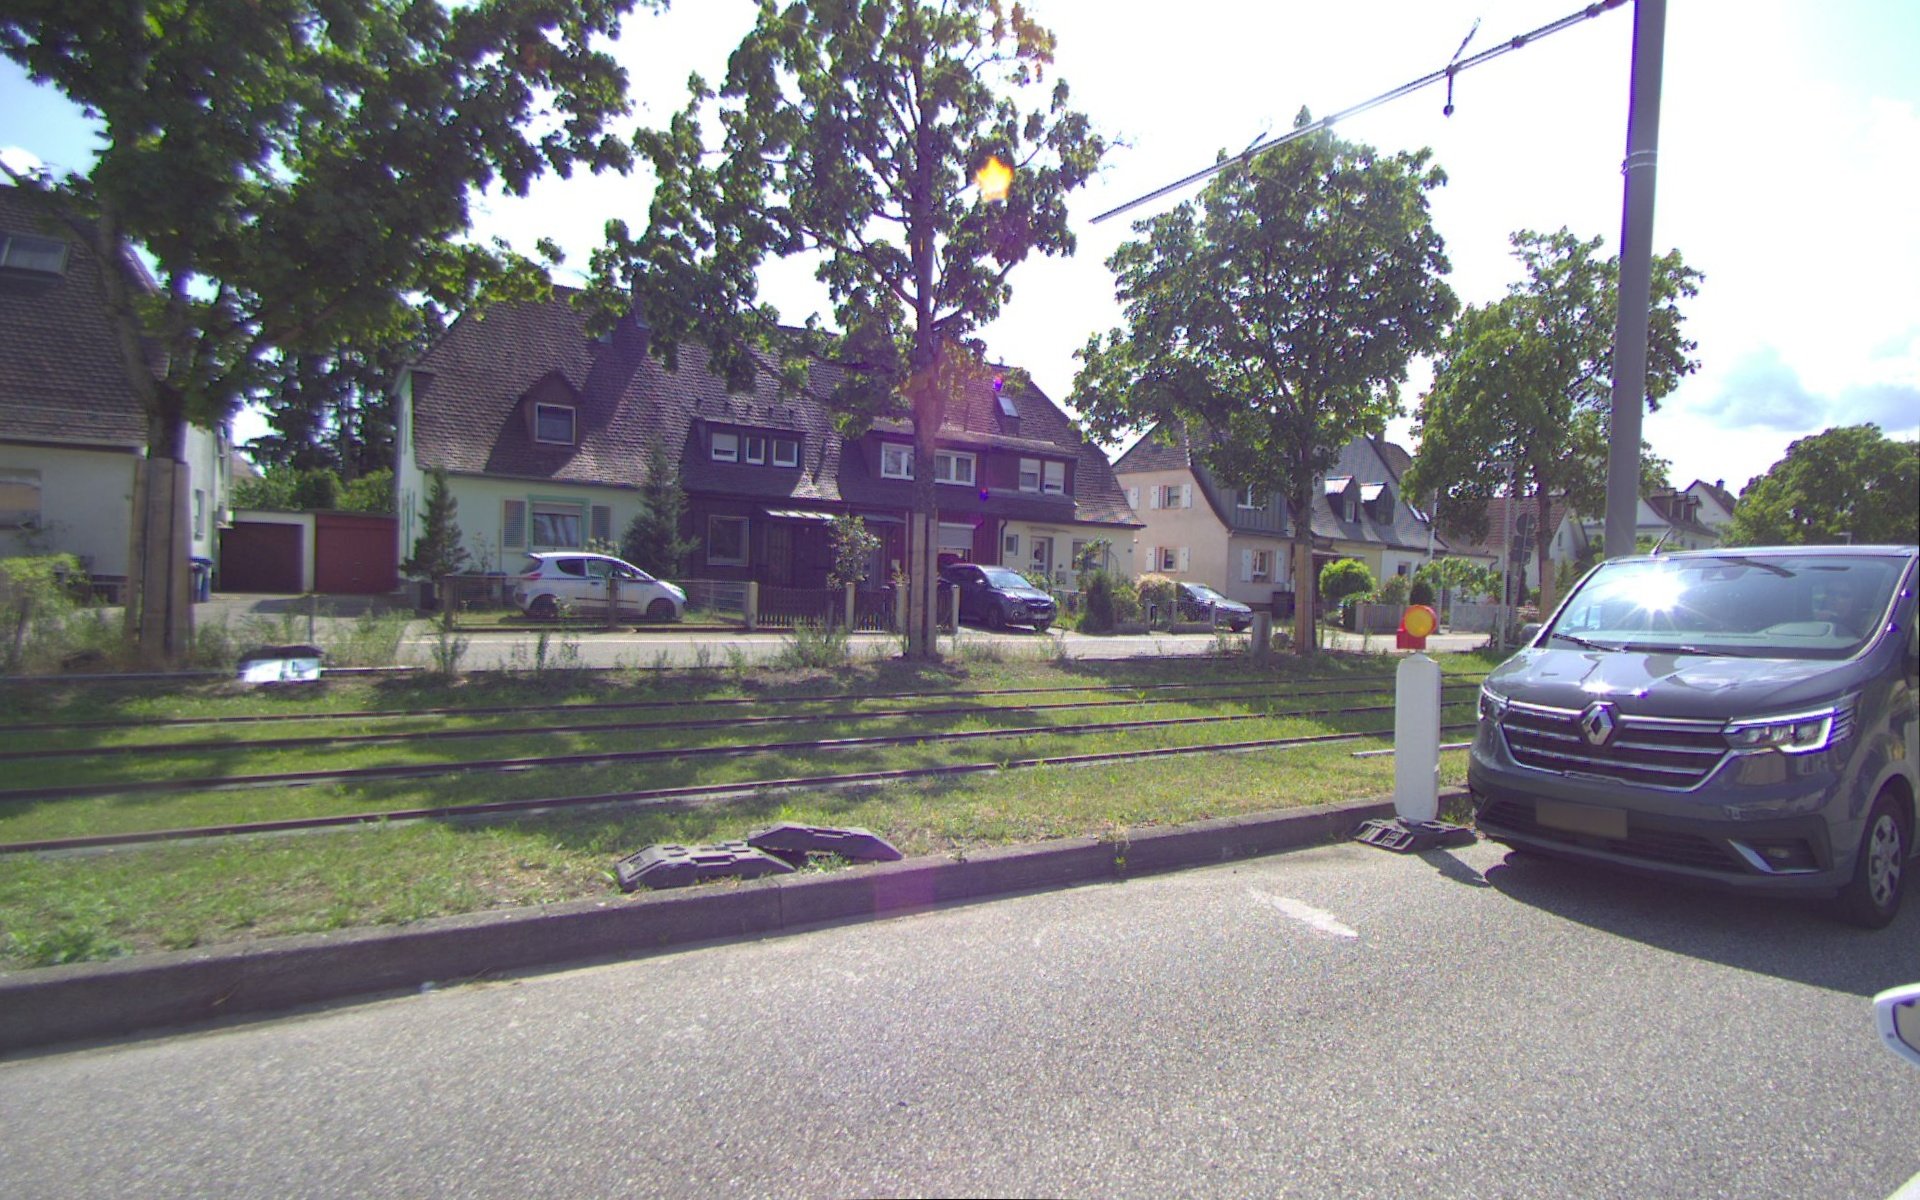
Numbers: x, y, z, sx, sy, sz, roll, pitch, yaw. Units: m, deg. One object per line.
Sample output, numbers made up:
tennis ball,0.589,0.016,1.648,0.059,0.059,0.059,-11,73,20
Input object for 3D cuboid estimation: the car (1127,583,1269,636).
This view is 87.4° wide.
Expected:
car,7.904,0.271,33.741,1.907,1.544,4.439,1,2,-35

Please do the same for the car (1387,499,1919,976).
car,5.217,0.601,6.436,5.235,1.992,1.944,1,1,-33

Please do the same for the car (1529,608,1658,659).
car,20.088,1.029,31.791,4.767,1.425,1.806,1,2,-37

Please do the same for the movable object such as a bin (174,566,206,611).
movable object such as a bin,-17.249,-0.253,22.517,0.494,0.990,0.449,1,2,-30

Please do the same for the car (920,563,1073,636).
car,0.950,-0.067,28.659,2.045,1.861,4.439,1,2,-35

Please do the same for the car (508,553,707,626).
car,-8.032,-0.223,23.004,4.004,1.538,1.717,1,2,-35

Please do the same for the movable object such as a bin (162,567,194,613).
movable object such as a bin,-17.142,-0.225,22.025,0.494,0.990,0.449,1,2,-30
